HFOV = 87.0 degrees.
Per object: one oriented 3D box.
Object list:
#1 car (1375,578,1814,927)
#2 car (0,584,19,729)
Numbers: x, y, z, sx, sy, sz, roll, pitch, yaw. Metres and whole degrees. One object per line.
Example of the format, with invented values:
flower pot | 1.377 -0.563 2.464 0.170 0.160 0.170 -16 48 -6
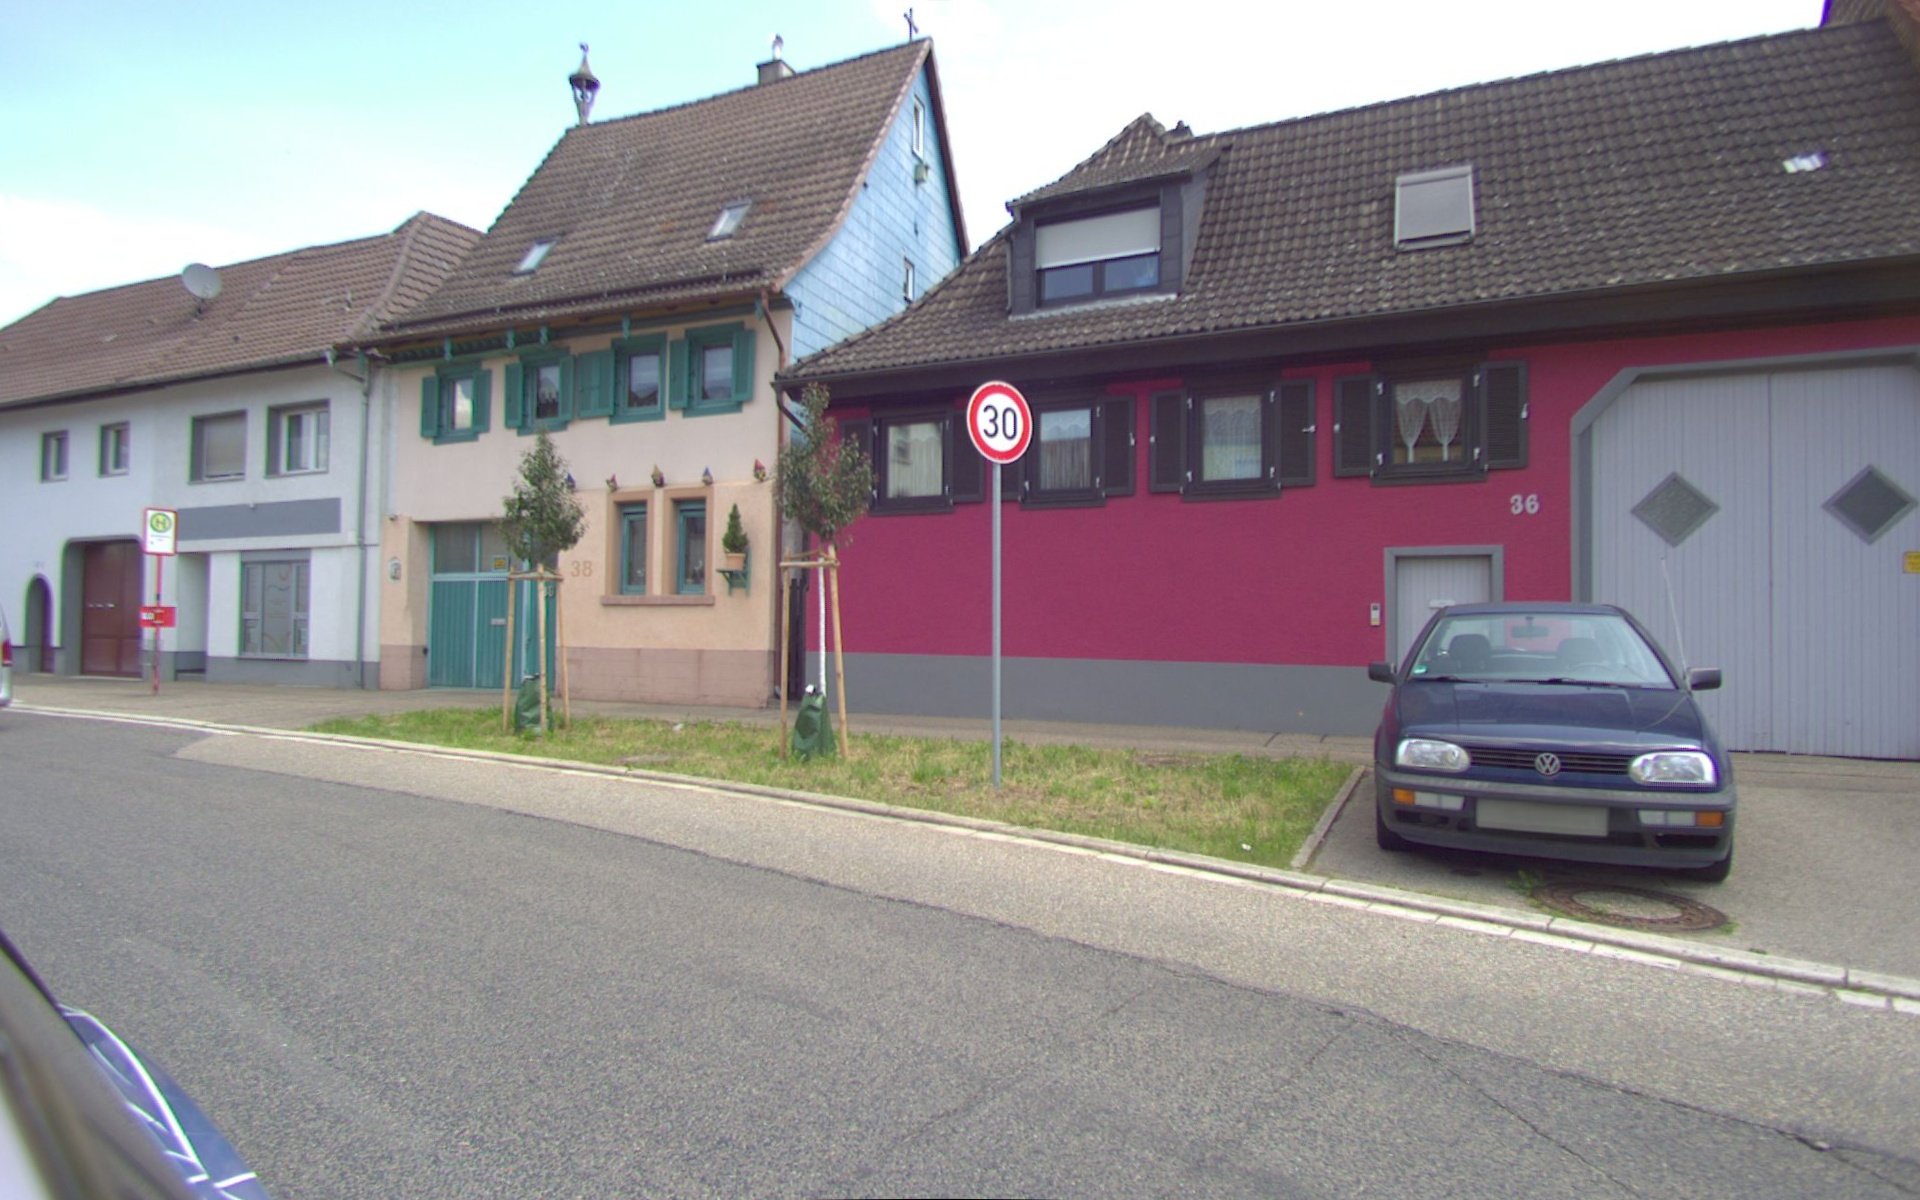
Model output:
car | 3.674 0.656 6.457 1.711 1.475 3.946 0 0 25
car | -14.508 0.669 13.083 4.914 1.813 1.981 1 0 29
